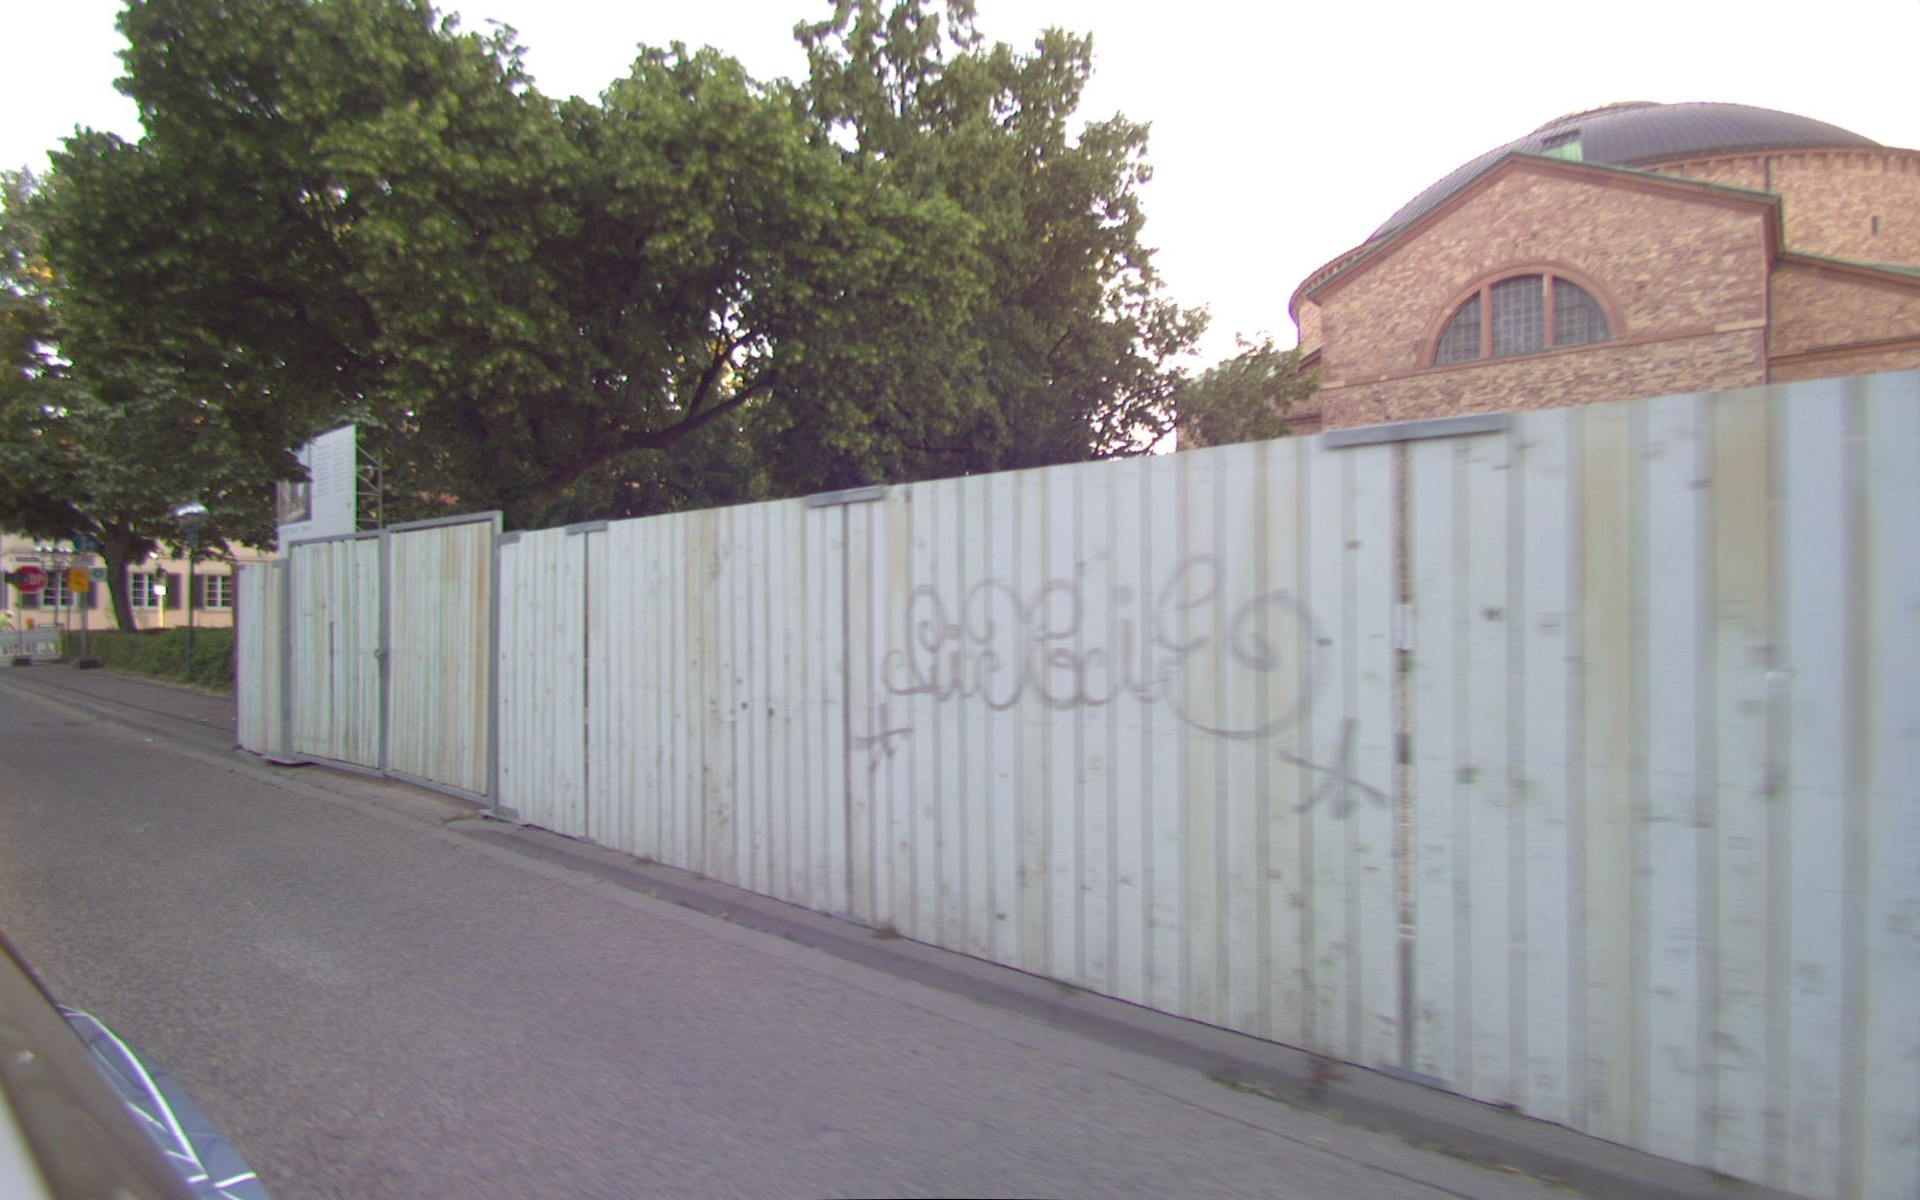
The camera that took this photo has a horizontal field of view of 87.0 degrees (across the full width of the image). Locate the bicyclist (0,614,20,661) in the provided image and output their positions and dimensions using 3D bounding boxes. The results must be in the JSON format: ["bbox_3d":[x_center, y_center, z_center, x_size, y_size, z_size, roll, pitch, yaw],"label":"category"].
[{"bbox_3d":[-33.757,1.306,35.581,0.593,1.632,0.956,-1,-2,38],"label":"bicyclist"}]

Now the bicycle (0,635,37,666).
[{"bbox_3d":[-33.764,1.771,35.552,0.581,1.047,1.877,-1,-2,37],"label":"bicycle"}]
